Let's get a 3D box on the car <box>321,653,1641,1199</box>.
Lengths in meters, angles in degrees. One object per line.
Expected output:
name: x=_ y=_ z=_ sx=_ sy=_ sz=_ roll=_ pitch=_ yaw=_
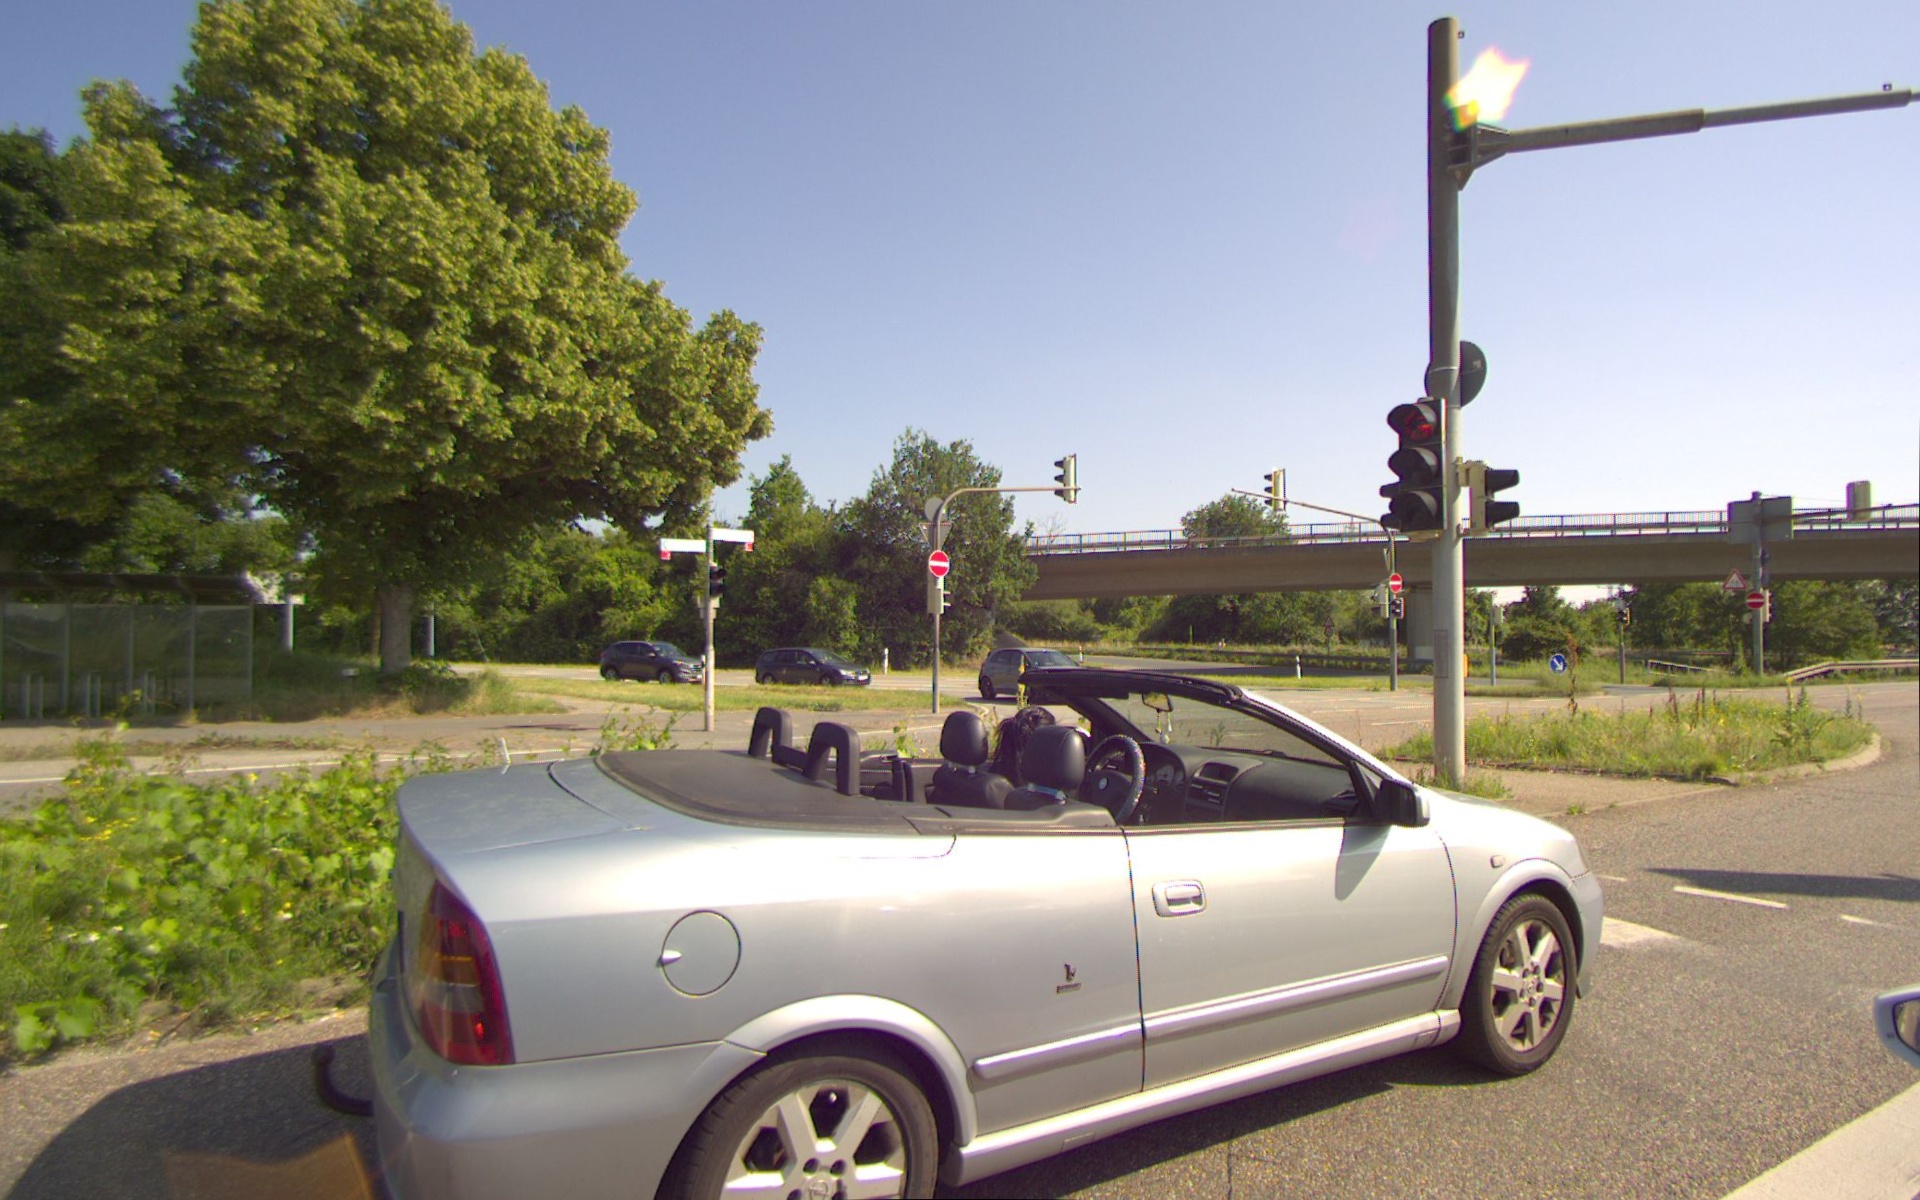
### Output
car: x=0.316 y=0.874 z=3.368 sx=4.049 sy=1.352 sz=1.666 roll=1 pitch=-3 yaw=-30

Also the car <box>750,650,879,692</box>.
car: x=-5.020 y=2.398 z=34.451 sx=4.276 sy=1.297 sz=1.648 roll=-1 pitch=-2 yaw=30

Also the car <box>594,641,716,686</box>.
car: x=-11.379 y=2.337 z=37.531 sx=4.270 sy=1.616 sz=1.651 roll=-1 pitch=-2 yaw=22

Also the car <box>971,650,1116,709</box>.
car: x=2.180 y=2.091 z=27.386 sx=1.851 sy=1.443 sz=4.090 roll=2 pitch=-3 yaw=-33
